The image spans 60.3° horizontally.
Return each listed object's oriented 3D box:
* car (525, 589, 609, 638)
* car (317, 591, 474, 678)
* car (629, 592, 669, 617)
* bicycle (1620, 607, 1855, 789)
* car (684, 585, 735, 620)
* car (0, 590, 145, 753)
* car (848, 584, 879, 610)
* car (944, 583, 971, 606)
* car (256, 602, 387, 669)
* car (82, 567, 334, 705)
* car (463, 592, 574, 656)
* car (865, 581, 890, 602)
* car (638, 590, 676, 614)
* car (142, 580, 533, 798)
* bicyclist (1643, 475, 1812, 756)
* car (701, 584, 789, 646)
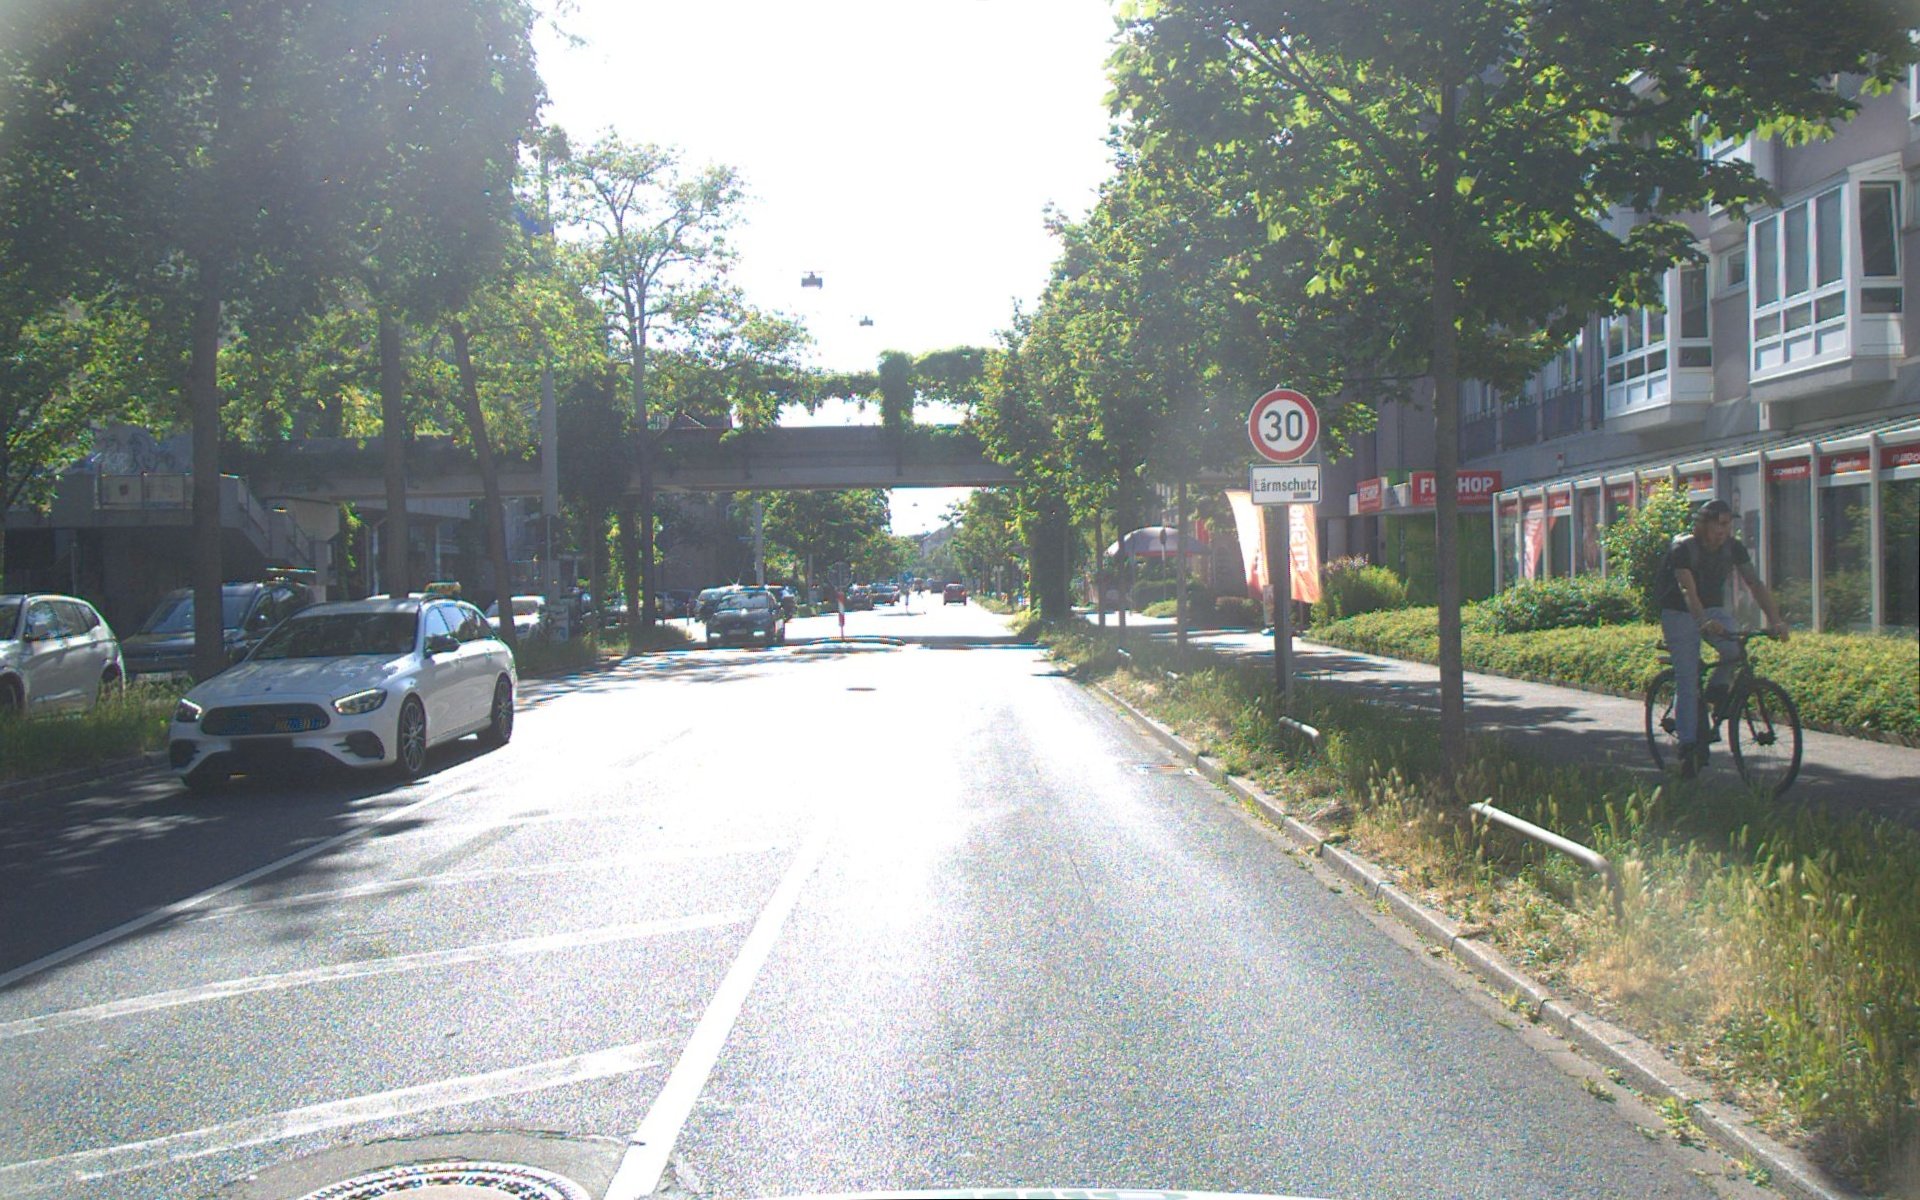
[{"bbox_3d":[-11.157,0.356,47.136,1.600,1.330,3.581,0,1,-2],"label":"car"},{"bbox_3d":[-11.241,0.641,33.231,1.818,1.595,3.871,0,1,0],"label":"car"},{"bbox_3d":[-19.836,0.284,105.562,1.818,1.549,4.317,0,1,-1],"label":"car"},{"bbox_3d":[4.928,0.577,10.617,0.577,1.045,1.859,-1,0,-1],"label":"bicycle"},{"bbox_3d":[-11.575,0.105,76.587,1.818,1.549,4.076,0,1,-1],"label":"car"},{"bbox_3d":[-11.311,0.763,19.172,1.820,1.713,4.659,0,1,-6],"label":"car"},{"bbox_3d":[-5.956,-0.199,102.503,1.818,1.549,4.317,0,1,-1],"label":"car"},{"bbox_3d":[-0.165,-0.416,119.326,1.817,1.549,4.319,0,1,1],"label":"car"},{"bbox_3d":[-16.780,0.903,43.708,1.818,1.549,4.318,-2,1,-1],"label":"car"},{"bbox_3d":[-11.243,0.465,25.102,1.818,1.882,4.561,0,1,-1],"label":"car"},{"bbox_3d":[-11.385,0.578,42.923,1.818,1.549,4.317,0,1,-1],"label":"car"},{"bbox_3d":[-6.302,-0.652,126.708,1.818,1.549,4.317,0,1,-1],"label":"car"},{"bbox_3d":[-20.383,0.143,111.459,1.818,1.549,4.317,0,1,-1],"label":"car"},{"bbox_3d":[-5.428,0.663,15.178,1.818,1.595,4.714,-3,1,-1],"label":"car"},{"bbox_3d":[4.922,0.094,10.660,0.654,1.725,0.889,0,0,-1],"label":"bicyclist"},{"bbox_3d":[-5.704,0.371,44.269,1.818,1.465,4.317,-3,1,-1],"label":"car"}]
